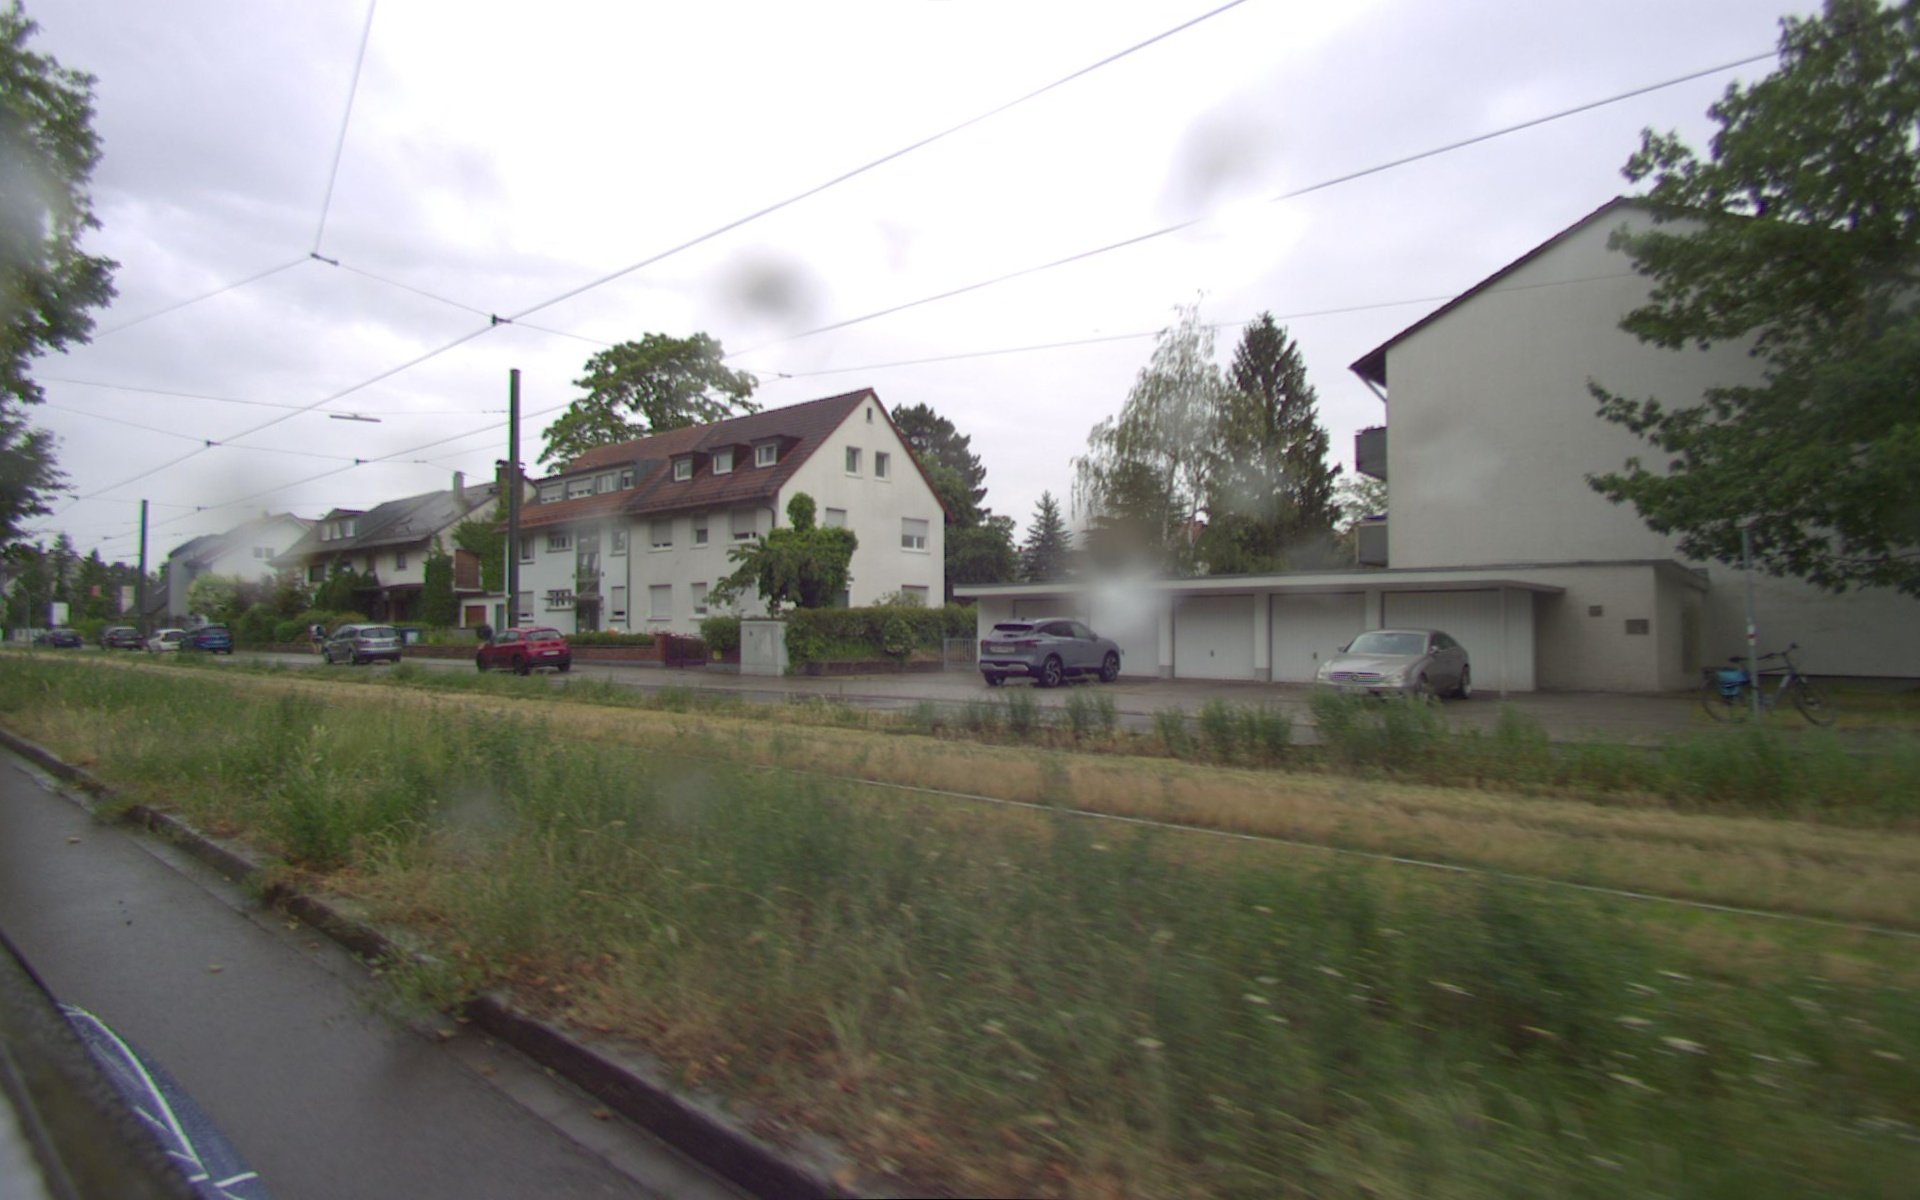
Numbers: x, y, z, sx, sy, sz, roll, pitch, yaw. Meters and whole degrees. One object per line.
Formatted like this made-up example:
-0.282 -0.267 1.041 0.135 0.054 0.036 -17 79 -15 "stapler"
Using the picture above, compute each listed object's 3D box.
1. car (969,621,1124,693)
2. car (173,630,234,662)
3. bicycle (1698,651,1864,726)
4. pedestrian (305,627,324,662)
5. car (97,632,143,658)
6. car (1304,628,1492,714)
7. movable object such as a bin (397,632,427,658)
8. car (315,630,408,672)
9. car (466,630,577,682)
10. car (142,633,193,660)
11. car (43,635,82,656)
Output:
2.175 1.343 24.643 1.891 1.588 3.947 -2 -3 39 "car"
-42.949 2.609 57.450 4.178 1.719 1.826 -2 -1 39 "car"
12.061 1.293 14.912 1.825 1.027 0.480 -1 1 16 "bicycle"
-33.622 2.299 52.724 0.868 1.781 0.592 -2 -2 40 "pedestrian"
-57.382 3.072 69.111 4.107 1.626 1.737 -2 0 40 "car"
8.415 1.252 19.221 1.848 1.376 4.674 -2 -2 42 "car"
-28.050 2.306 51.825 0.739 1.308 1.172 -2 -1 41 "movable object such as a bin"
-24.916 2.075 42.092 4.682 1.626 1.973 -2 -1 41 "car"
-14.535 1.804 33.451 3.971 1.558 1.822 -2 0 41 "car"
-48.419 2.827 61.785 3.598 1.540 1.696 -2 0 40 "car"
-71.004 3.613 80.047 3.851 1.527 1.737 -2 0 40 "car"
